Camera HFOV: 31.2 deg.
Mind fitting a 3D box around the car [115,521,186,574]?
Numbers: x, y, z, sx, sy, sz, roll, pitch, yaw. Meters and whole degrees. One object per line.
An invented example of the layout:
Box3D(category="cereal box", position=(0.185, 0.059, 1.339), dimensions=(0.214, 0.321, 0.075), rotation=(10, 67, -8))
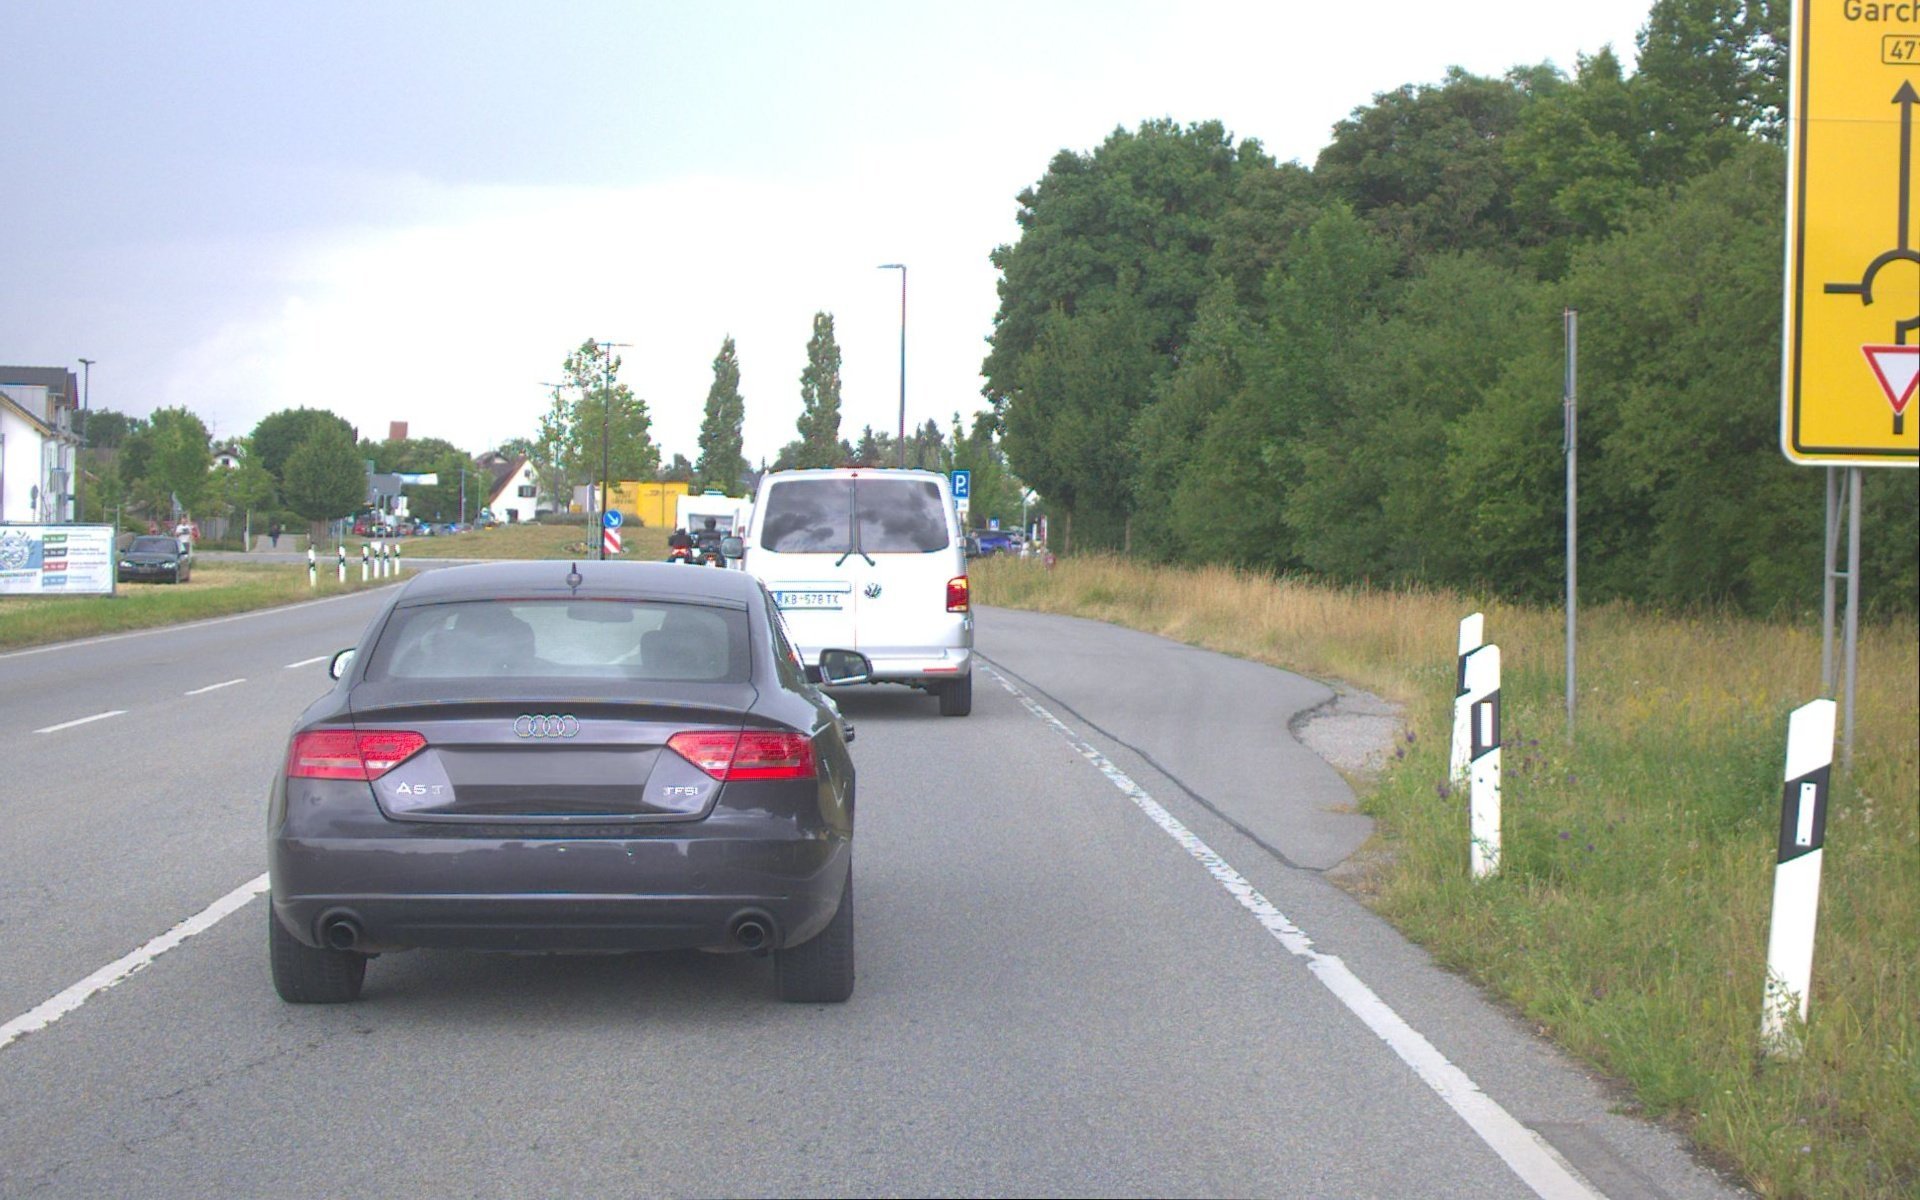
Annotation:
Box3D(category="car", position=(-23.927, -1.571, 101.614), dimensions=(1.993, 1.437, 4.002), rotation=(1, 2, -13))

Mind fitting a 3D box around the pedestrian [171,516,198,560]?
Box3D(category="pedestrian", position=(-27.625, -2.206, 122.525), dimensions=(0.701, 1.580, 0.657), rotation=(1, 1, 15))

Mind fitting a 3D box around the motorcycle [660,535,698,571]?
Box3D(category="motorcycle", position=(-8.067, -1.350, 98.529), dimensions=(0.944, 1.016, 2.284), rotation=(1, 1, -8))

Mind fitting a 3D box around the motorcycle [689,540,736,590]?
Box3D(category="motorcycle", position=(-5.585, -0.803, 77.720), dimensions=(0.920, 1.090, 2.189), rotation=(1, 1, -1))

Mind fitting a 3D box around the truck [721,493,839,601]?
Box3D(category="truck", position=(-3.497, -1.050, 67.562), dimensions=(2.193, 2.007, 5.085), rotation=(1, 1, -2))

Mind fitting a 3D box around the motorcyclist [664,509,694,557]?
Box3D(category="motorcyclist", position=(-8.061, -1.924, 98.449), dimensions=(0.785, 1.352, 0.854), rotation=(1, 1, -8))

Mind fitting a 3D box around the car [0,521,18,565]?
Box3D(category="car", position=(-33.163, -1.886, 113.645), dimensions=(1.995, 1.441, 4.208), rotation=(1, 1, 16))

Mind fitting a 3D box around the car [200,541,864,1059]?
Box3D(category="car", position=(-1.321, 0.538, 11.879), dimensions=(1.875, 1.449, 4.177), rotation=(0, 1, -3))

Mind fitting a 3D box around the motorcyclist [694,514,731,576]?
Box3D(category="motorcyclist", position=(-5.591, -1.235, 77.742), dimensions=(0.772, 1.379, 0.820), rotation=(1, 1, -1))

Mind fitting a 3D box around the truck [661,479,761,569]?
Box3D(category="truck", position=(-7.996, -2.436, 109.797), dimensions=(2.625, 2.728, 5.869), rotation=(1, 1, -9))

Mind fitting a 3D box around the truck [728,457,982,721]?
Box3D(category="truck", position=(-0.891, -0.136, 28.571), dimensions=(1.904, 1.991, 4.629), rotation=(1, 1, -2))

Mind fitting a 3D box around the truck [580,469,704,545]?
Box3D(category="truck", position=(-15.909, -4.665, 171.318), dimensions=(3.575, 3.566, 9.960), rotation=(1, 2, -21))
